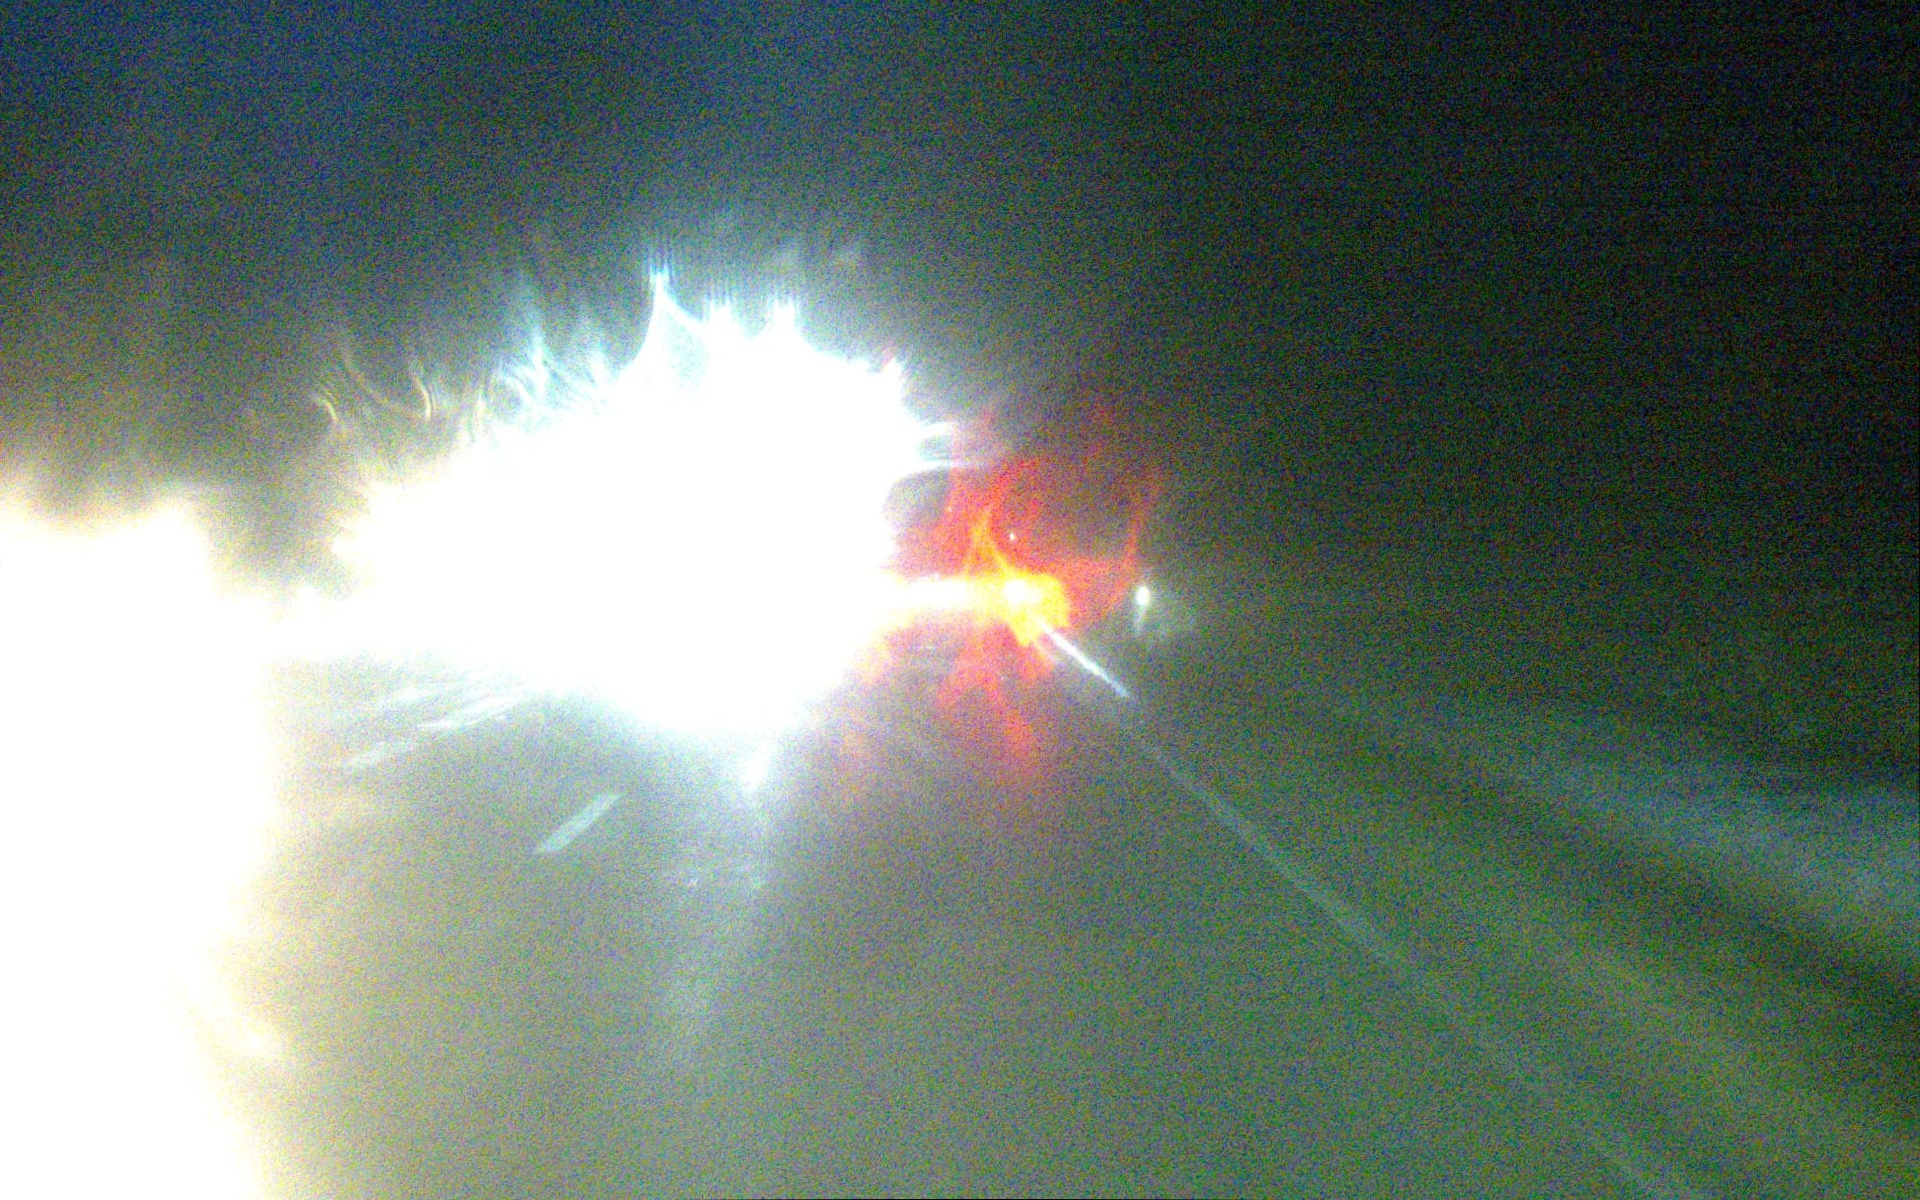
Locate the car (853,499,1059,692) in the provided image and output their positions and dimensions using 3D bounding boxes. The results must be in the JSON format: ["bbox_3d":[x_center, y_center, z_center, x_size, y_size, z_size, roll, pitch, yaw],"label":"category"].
[{"bbox_3d":[-0.063,-0.101,35.372,1.993,1.800,3.918,0,3,-1],"label":"car"}]

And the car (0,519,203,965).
[{"bbox_3d":[-4.383,0.491,14.665,1.634,1.575,3.745,0,3,-3],"label":"car"}]

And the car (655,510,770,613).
[{"bbox_3d":[-4.723,-0.768,66.133,1.993,1.775,4.001,-2,3,-2],"label":"car"}]
